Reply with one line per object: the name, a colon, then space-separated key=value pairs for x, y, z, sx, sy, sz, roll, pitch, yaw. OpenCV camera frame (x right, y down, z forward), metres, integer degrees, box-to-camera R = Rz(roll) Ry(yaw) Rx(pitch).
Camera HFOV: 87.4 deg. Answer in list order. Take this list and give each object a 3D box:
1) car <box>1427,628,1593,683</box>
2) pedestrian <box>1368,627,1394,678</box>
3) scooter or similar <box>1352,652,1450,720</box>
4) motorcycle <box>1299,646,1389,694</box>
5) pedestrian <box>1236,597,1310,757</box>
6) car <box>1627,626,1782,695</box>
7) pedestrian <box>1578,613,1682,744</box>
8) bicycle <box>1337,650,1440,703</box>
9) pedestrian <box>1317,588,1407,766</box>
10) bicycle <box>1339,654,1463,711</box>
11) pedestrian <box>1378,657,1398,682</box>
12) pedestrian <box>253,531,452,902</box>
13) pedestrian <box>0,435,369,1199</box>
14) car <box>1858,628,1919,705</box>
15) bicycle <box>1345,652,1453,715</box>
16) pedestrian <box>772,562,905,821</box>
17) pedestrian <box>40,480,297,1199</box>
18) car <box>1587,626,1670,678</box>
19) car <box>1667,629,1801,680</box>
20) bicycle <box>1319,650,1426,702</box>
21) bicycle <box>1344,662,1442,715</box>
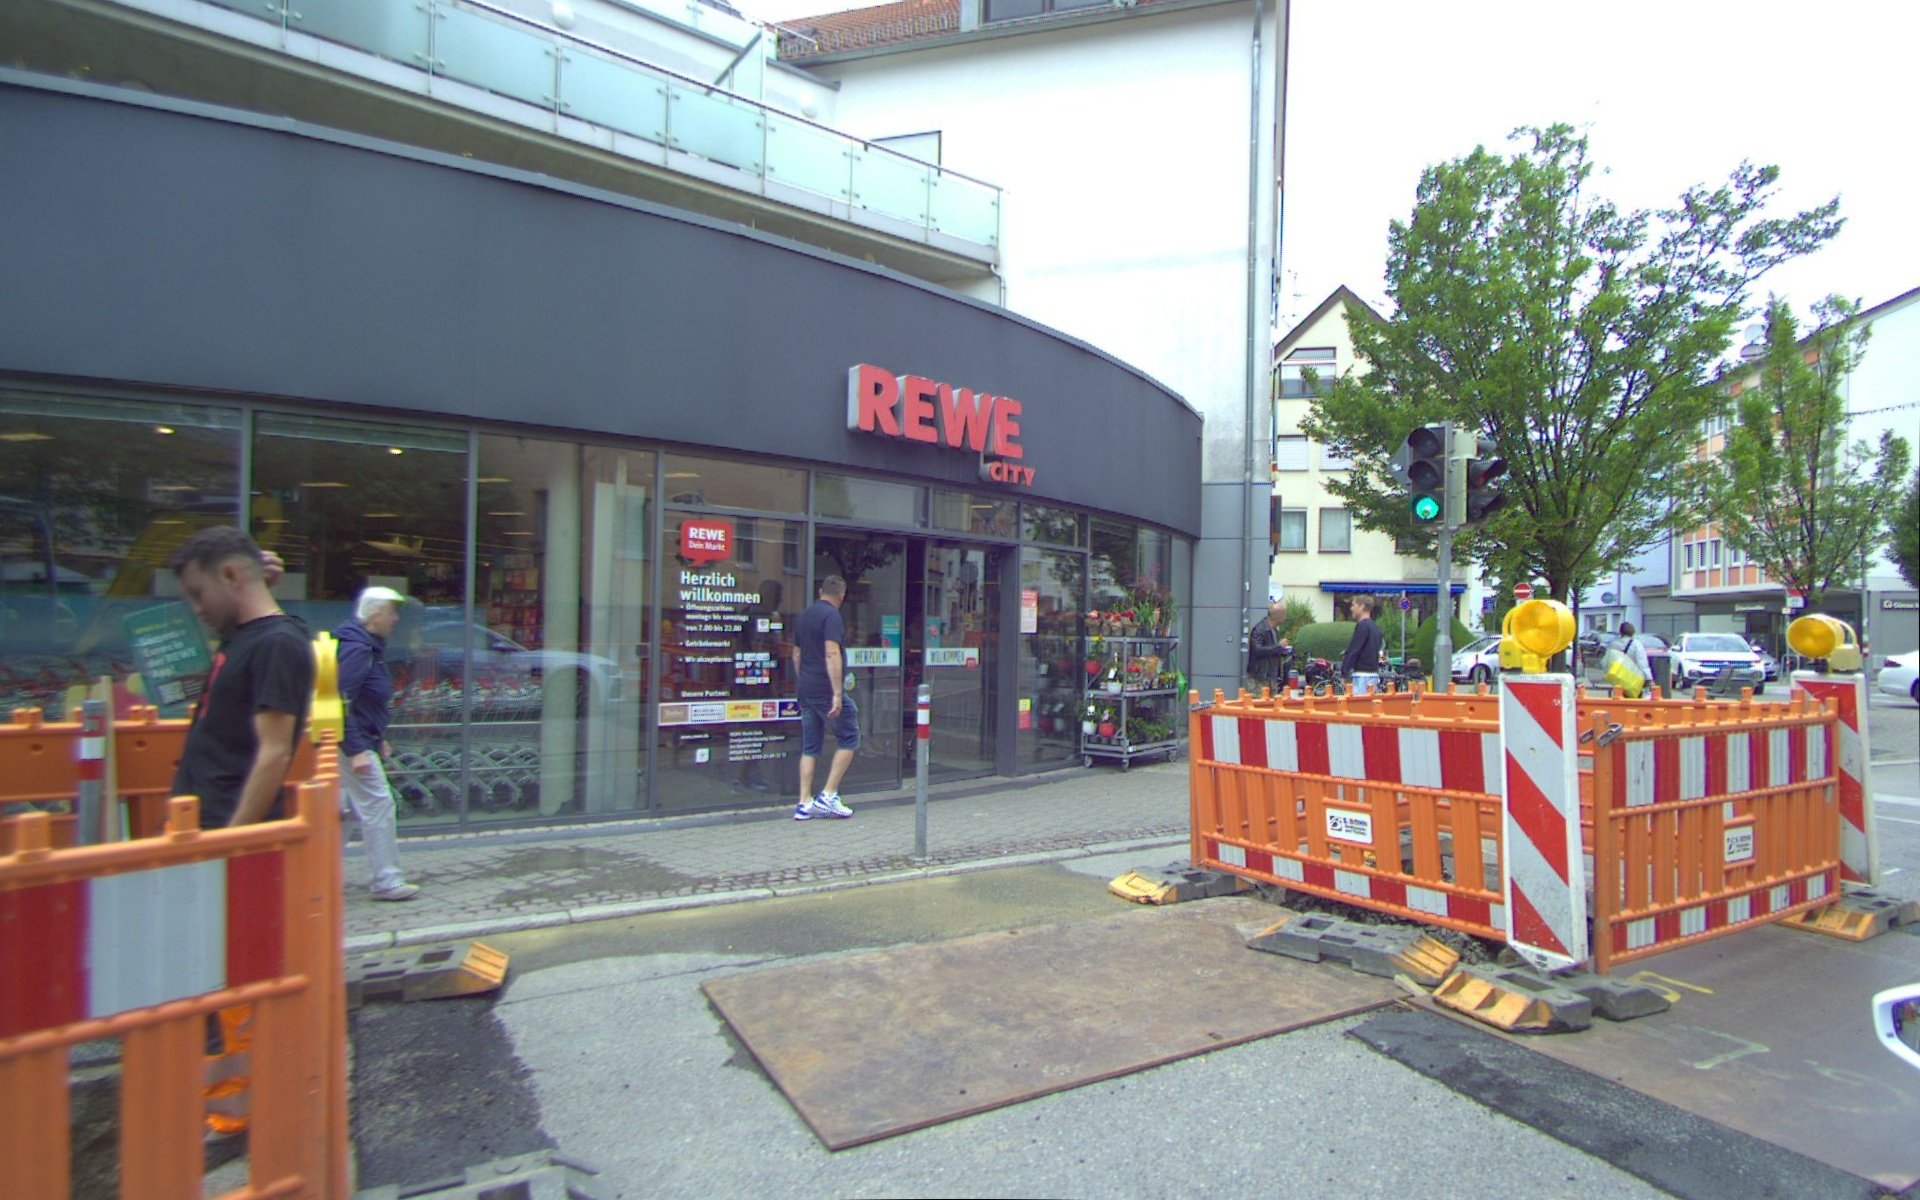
car: x=17.509 y=1.766 z=32.130 sx=4.243 sy=1.661 sz=2.000 roll=1 pitch=-2 yaw=-2
pedestrian: x=14.306 y=1.775 z=34.143 sx=0.756 sy=1.691 sz=0.953 roll=0 pitch=-2 yaw=27
scooter or similar: x=7.809 y=1.518 z=17.841 sx=1.502 sy=1.138 sz=0.598 roll=0 pitch=-1 yaw=14
motorcycle: x=9.297 y=1.681 z=24.374 sx=1.915 sy=1.119 sz=0.803 roll=0 pitch=-2 yaw=10
pedestrian: x=3.721 y=0.885 z=11.926 sx=0.681 sy=1.814 sz=0.717 roll=0 pitch=-1 yaw=31
car: x=20.105 y=1.554 z=27.396 sx=1.981 sy=1.578 sz=4.919 roll=1 pitch=0 yaw=19
pedestrian: x=8.526 y=0.979 z=12.800 sx=0.863 sy=1.613 sz=0.682 roll=1 pitch=-1 yaw=-8
bicycle: x=9.157 y=1.638 z=21.541 sx=1.921 sy=1.088 sz=0.812 roll=-1 pitch=-2 yaw=15
pedestrian: x=4.630 y=0.849 z=11.560 sx=0.803 sy=1.951 sz=0.782 roll=0 pitch=-1 yaw=35
bicycle: x=8.721 y=1.635 z=19.948 sx=2.108 sy=1.060 sz=0.751 roll=-2 pitch=-2 yaw=13
pedestrian: x=14.276 y=2.317 z=33.495 sx=0.563 sy=0.810 sz=0.454 roll=0 pitch=-2 yaw=14
pedestrian: x=-3.124 y=0.557 z=5.259 sx=0.805 sy=1.735 sz=0.829 roll=1 pitch=-1 yaw=-27
pedestrian: x=-2.099 y=0.555 z=2.811 sx=0.735 sy=1.840 sz=0.810 roll=1 pitch=-1 yaw=-30
car: x=20.680 y=1.348 z=19.124 sx=2.221 sy=1.496 sz=4.883 roll=1 pitch=0 yaw=-28
bicycle: x=8.090 y=1.549 z=18.572 sx=1.710 sy=1.060 sz=0.532 roll=-4 pitch=-2 yaw=13
pedestrian: x=-0.948 y=0.669 z=7.769 sx=0.779 sy=1.868 sz=0.749 roll=1 pitch=-1 yaw=-30
pedestrian: x=-2.086 y=0.608 z=2.705 sx=0.438 sy=1.767 sz=0.535 roll=1 pitch=-1 yaw=-30
car: x=23.306 y=1.756 z=35.200 sx=1.985 sy=1.578 sz=4.910 roll=1 pitch=0 yaw=29
car: x=27.830 y=1.917 z=36.359 sx=1.980 sy=1.578 sz=4.921 roll=1 pitch=0 yaw=13
bicycle: x=9.184 y=1.690 z=22.437 sx=2.083 sy=1.075 sz=0.693 roll=-2 pitch=-1 yaw=10
bicycle: x=8.298 y=1.694 z=19.305 sx=1.597 sy=0.894 sz=0.496 roll=-5 pitch=-3 yaw=13
